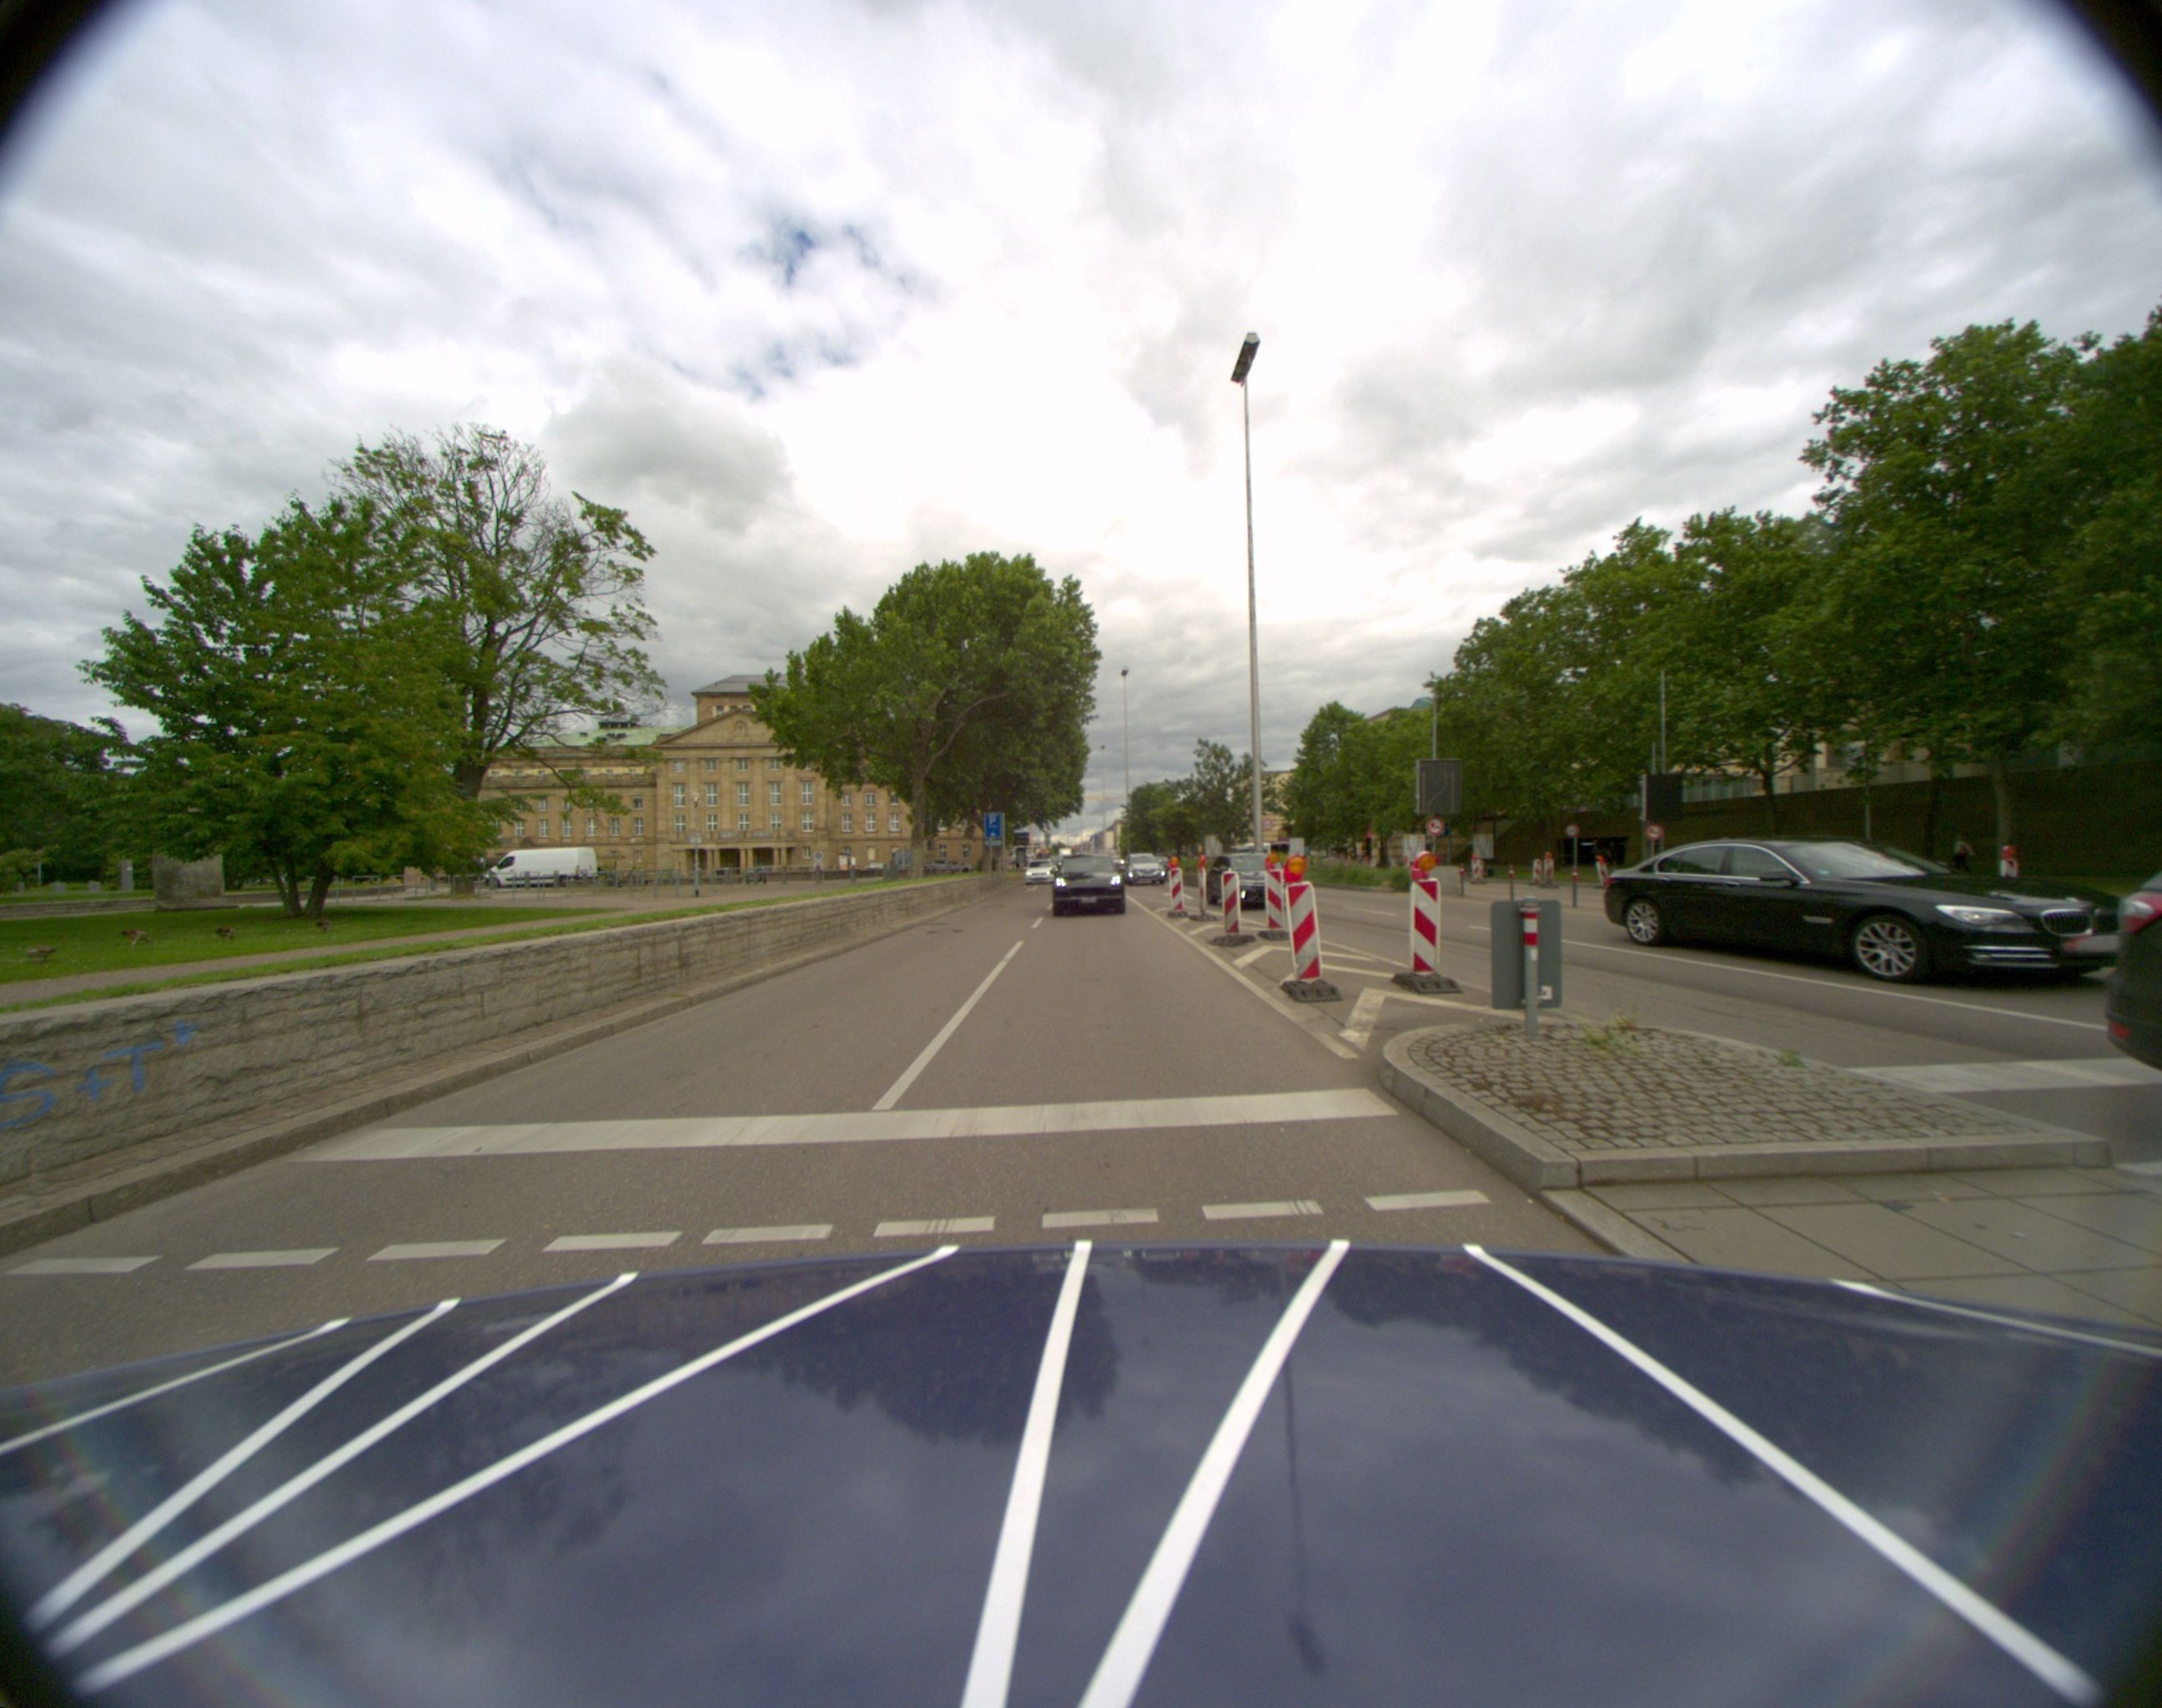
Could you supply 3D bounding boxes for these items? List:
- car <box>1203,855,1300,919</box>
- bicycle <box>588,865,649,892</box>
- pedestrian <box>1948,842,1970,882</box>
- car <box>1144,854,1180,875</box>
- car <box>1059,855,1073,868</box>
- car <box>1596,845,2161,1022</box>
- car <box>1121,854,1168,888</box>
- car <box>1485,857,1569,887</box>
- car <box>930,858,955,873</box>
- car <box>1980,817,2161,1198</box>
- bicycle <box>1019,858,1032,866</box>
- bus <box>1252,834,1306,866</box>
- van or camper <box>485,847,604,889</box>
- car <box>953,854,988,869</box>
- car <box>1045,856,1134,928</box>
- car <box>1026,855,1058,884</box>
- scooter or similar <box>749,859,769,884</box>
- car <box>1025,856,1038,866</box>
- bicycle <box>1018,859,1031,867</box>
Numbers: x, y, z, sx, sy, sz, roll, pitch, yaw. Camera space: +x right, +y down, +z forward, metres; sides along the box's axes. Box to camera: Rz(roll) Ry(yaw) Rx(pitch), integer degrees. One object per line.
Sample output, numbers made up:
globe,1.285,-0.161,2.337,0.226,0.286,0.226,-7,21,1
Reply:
car,4.704,0.839,21.526,1.767,1.507,4.152,-3,1,0
bicycle,-20.143,1.045,33.137,2.197,1.135,0.685,-1,0,-1
pedestrian,35.585,0.328,30.793,0.355,1.598,0.443,-4,1,-7
car,6.025,0.792,57.344,1.999,1.474,4.808,-1,0,-2
car,-2.004,0.993,102.725,1.733,1.587,3.999,-4,1,1
car,8.778,0.688,8.953,1.999,1.474,4.808,-1,0,-2
car,3.299,0.852,40.362,1.999,1.607,4.737,-2,1,-1
car,21.508,0.836,36.831,1.730,1.364,4.000,-1,0,0
car,-14.678,1.215,80.596,1.768,1.508,4.218,-1,-1,1
car,5.862,0.639,1.753,1.899,1.705,4.657,-2,0,-3
bicycle,-8.506,1.206,116.361,1.939,1.126,0.540,-1,0,-21
bus,21.836,-0.417,84.649,2.920,3.285,10.447,-1,0,-2
van or camper,-33.881,0.856,48.102,5.712,2.307,2.319,-2,2,-1
car,-13.547,0.886,93.133,3.998,1.587,1.734,-4,1,-5
car,0.126,0.986,21.939,2.062,1.616,4.598,-4,1,-4
car,-2.489,0.968,49.117,1.696,1.585,3.999,-4,1,1
scooter or similar,-16.322,0.873,38.532,0.718,1.239,0.728,2,1,-3
car,-8.204,1.116,126.076,1.843,1.522,3.999,-1,1,1
bicycle,-8.329,1.282,112.366,1.919,1.092,0.541,-1,0,-9
